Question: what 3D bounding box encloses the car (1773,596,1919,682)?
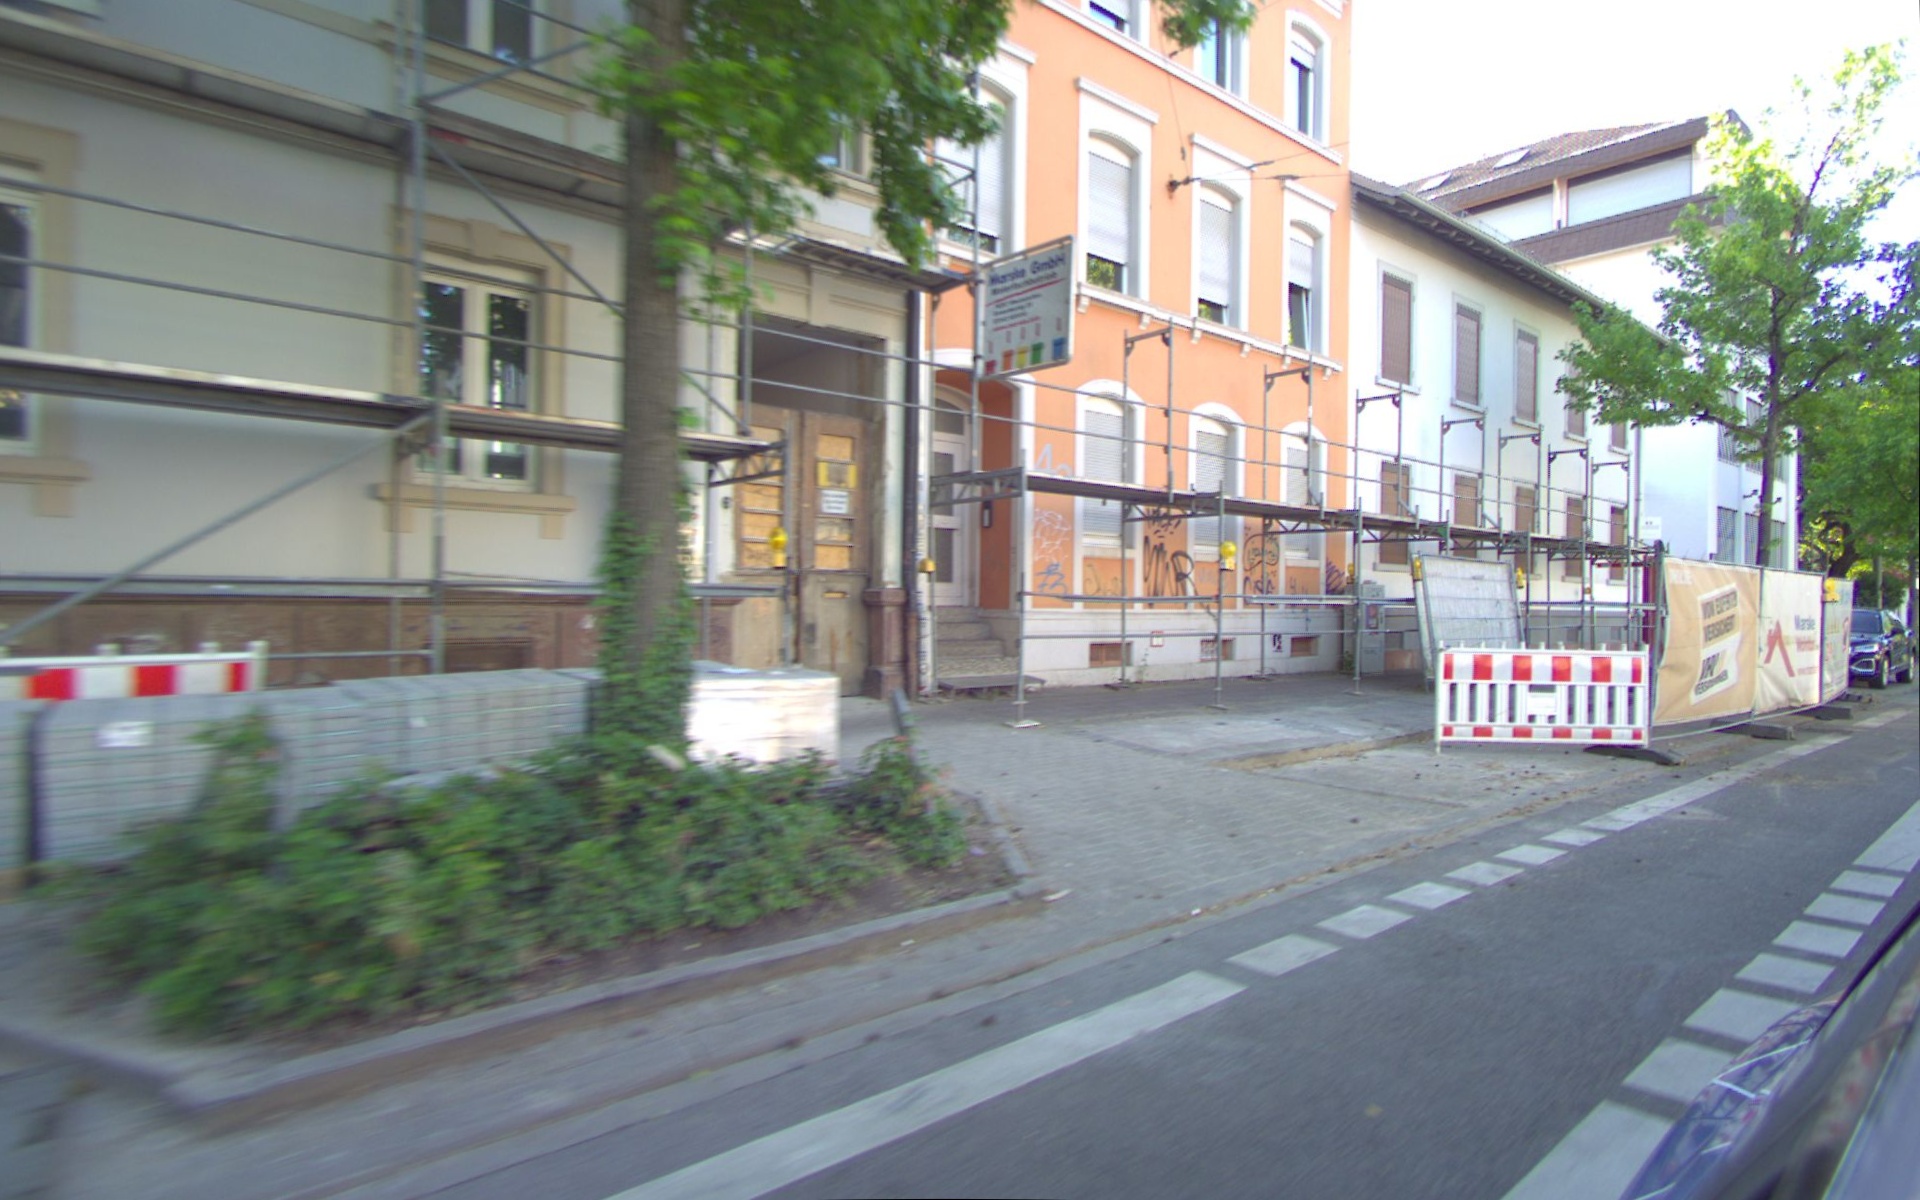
[{"bbox_3d":[17.930,0.701,20.153,4.033,1.502,1.769,0,1,-37],"label":"car"}]
